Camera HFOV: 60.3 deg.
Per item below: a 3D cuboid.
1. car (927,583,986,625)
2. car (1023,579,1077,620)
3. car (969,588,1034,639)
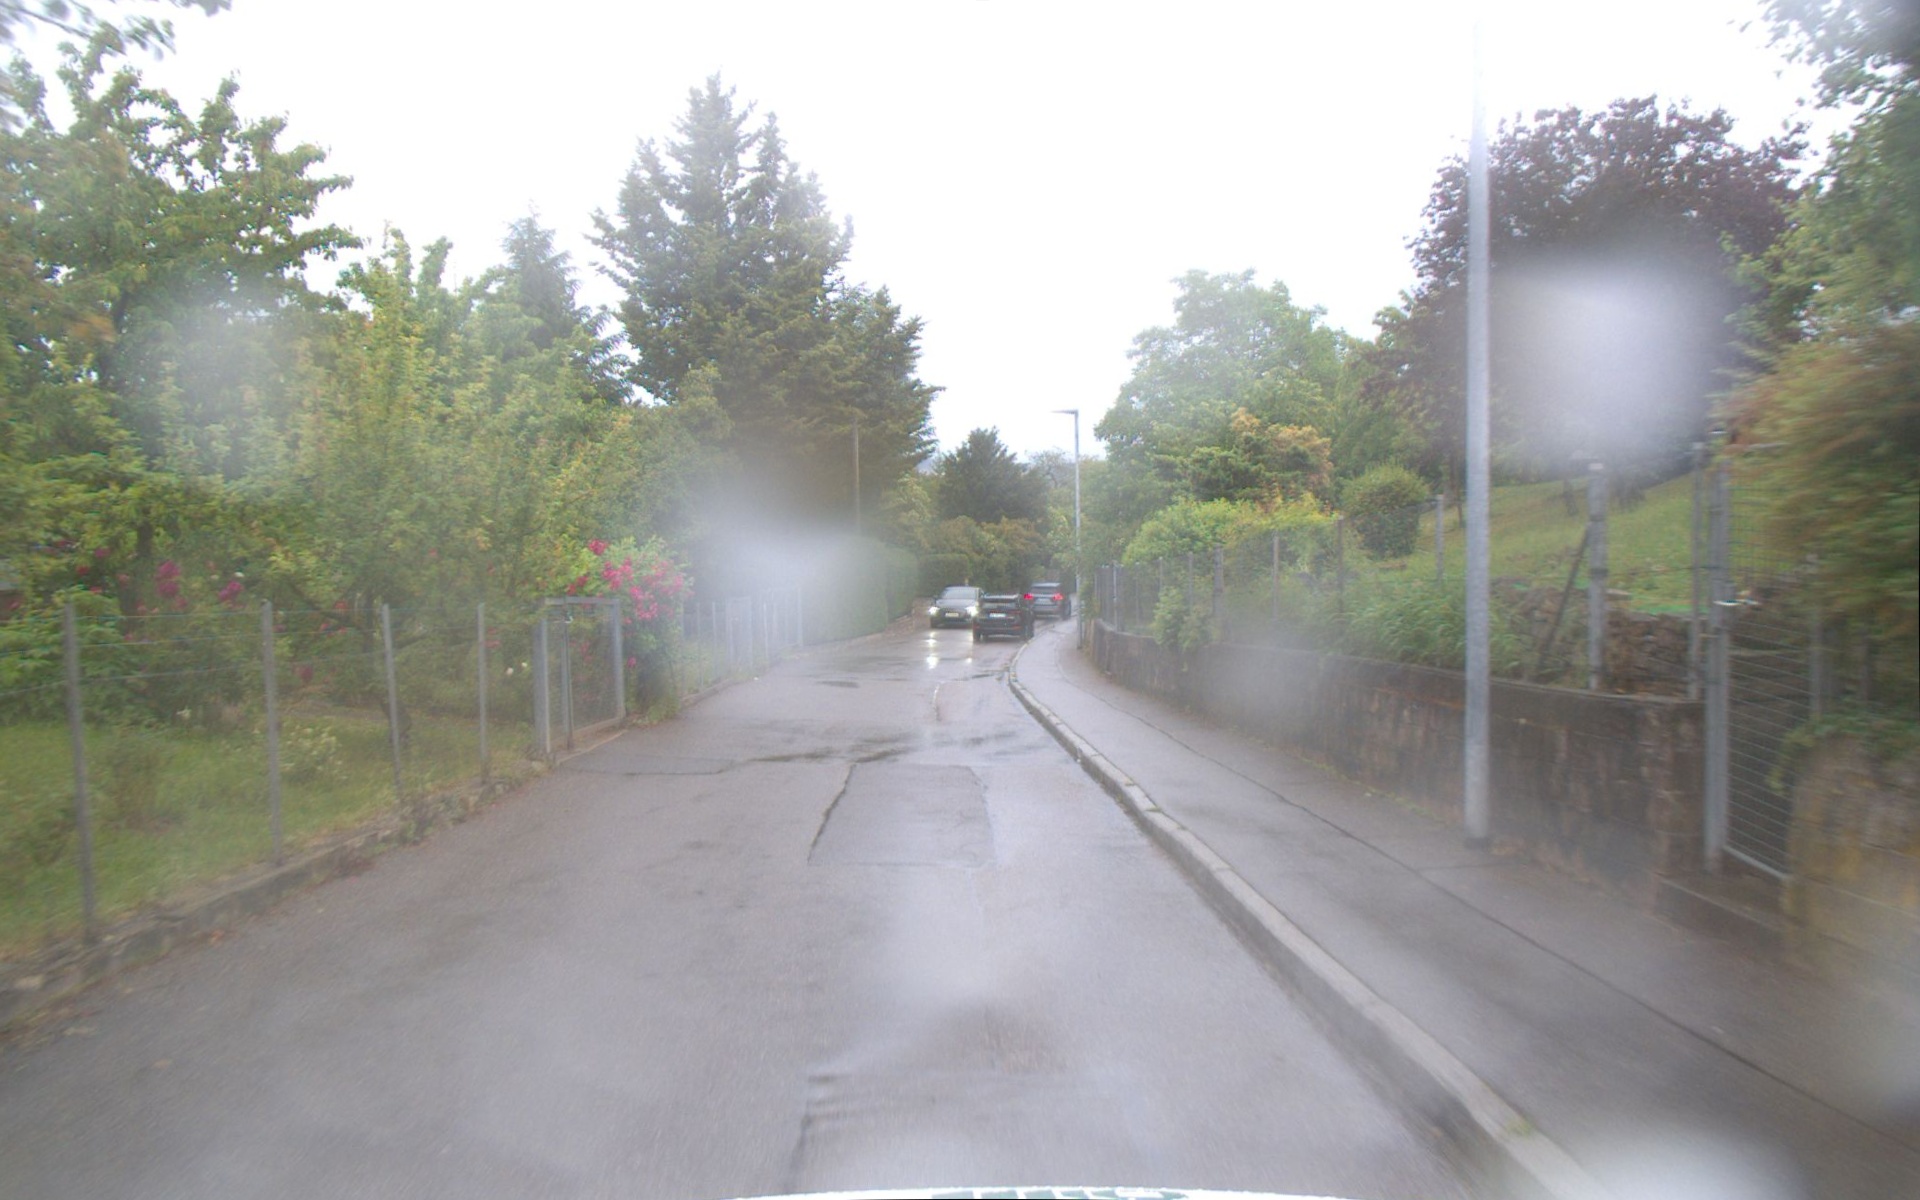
[{"bbox_3d":[-0.103,0.138,63.012,1.742,1.520,3.834,1,1,7],"label":"car"},{"bbox_3d":[3.911,-0.045,71.493,1.642,1.592,3.798,2,2,14],"label":"car"},{"bbox_3d":[1.375,0.430,53.177,1.796,1.489,4.002,3,0,5],"label":"car"}]
